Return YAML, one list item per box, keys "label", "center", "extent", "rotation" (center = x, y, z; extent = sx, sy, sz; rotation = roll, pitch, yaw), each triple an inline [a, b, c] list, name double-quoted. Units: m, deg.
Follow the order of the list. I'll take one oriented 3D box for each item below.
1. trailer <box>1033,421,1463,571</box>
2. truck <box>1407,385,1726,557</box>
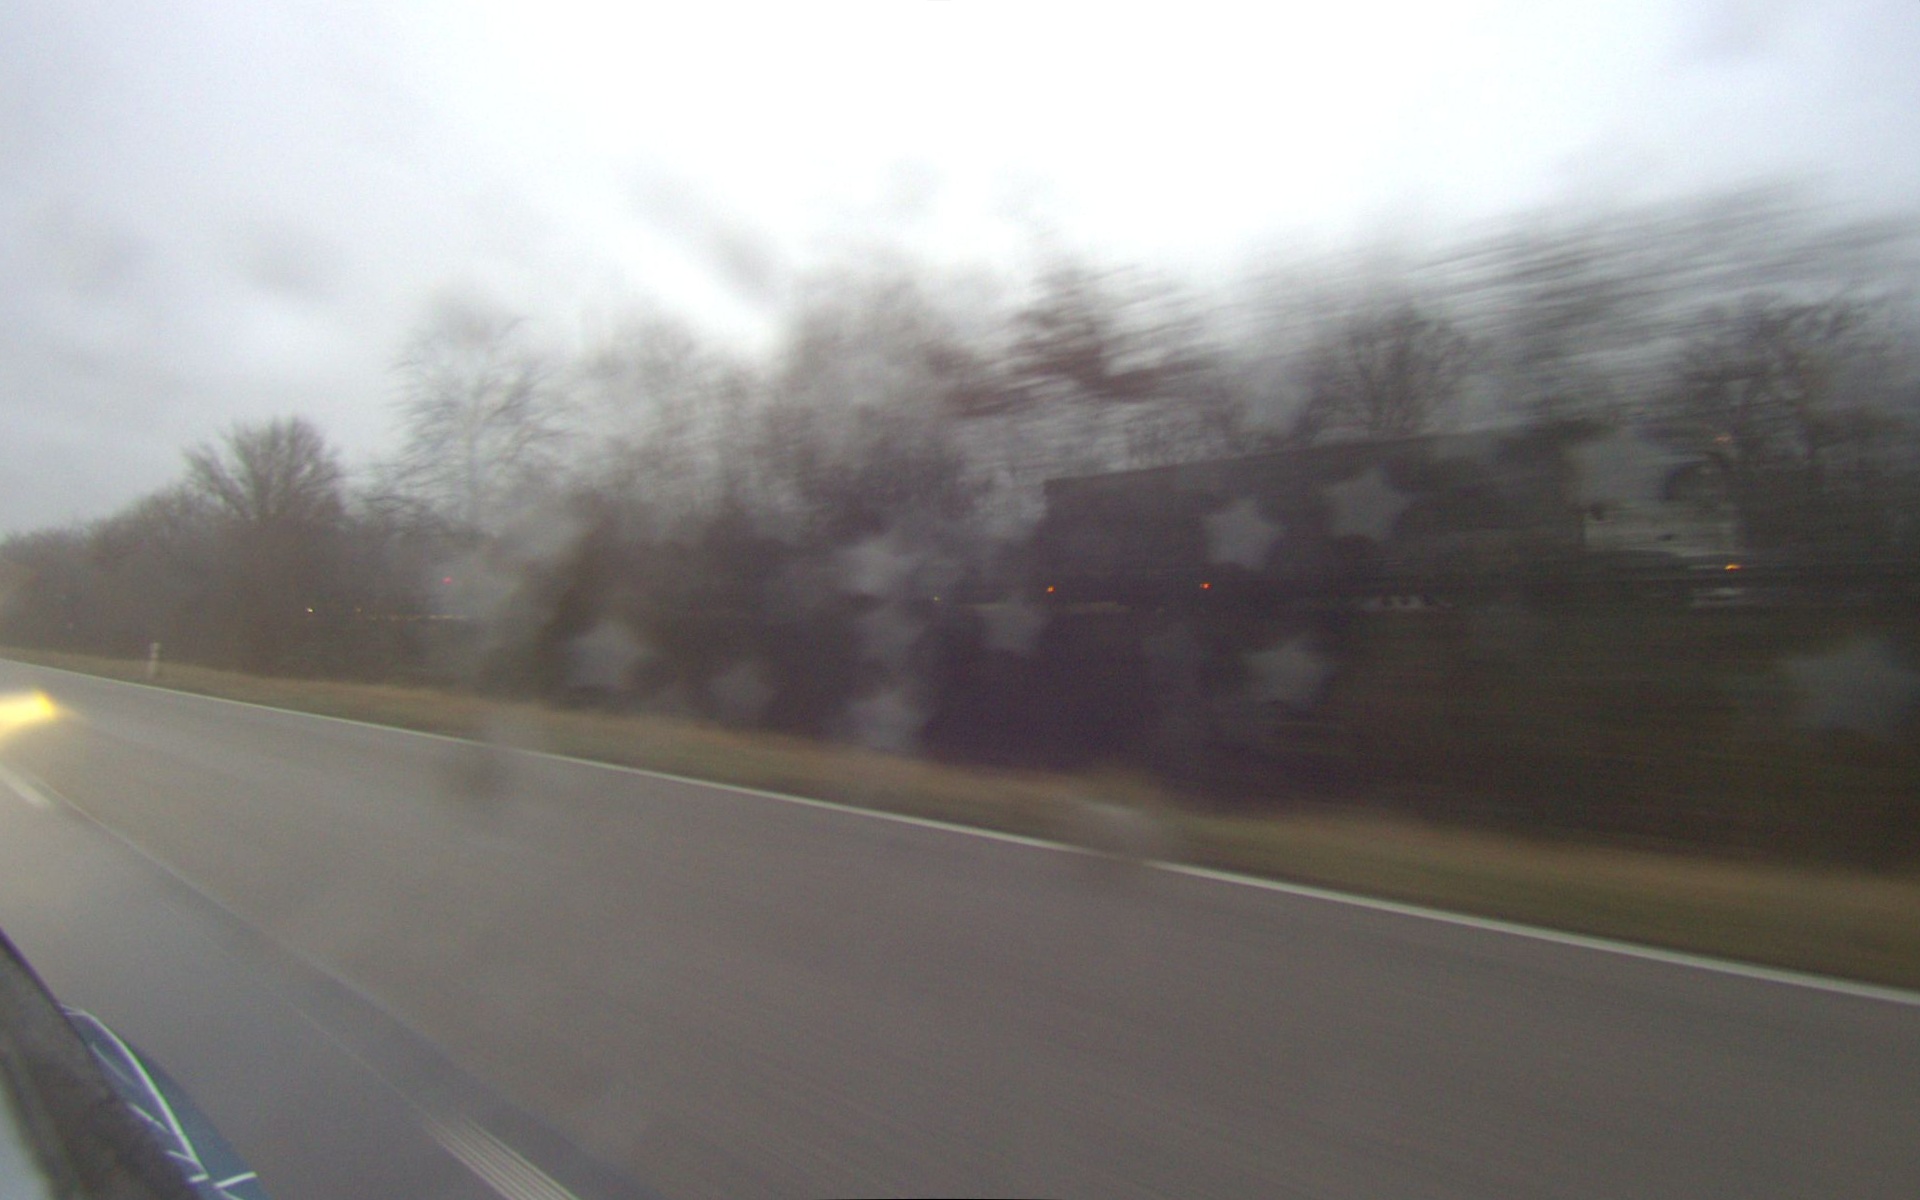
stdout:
- label: "trailer"
  center: [7.098, -2.436, 26.993]
  extent: [11.079, 2.913, 2.410]
  rotation: [-1, -1, 41]
- label: "truck"
  center: [12.965, -2.556, 21.881]
  extent: [5.580, 2.909, 2.424]
  rotation: [-1, -1, 41]
